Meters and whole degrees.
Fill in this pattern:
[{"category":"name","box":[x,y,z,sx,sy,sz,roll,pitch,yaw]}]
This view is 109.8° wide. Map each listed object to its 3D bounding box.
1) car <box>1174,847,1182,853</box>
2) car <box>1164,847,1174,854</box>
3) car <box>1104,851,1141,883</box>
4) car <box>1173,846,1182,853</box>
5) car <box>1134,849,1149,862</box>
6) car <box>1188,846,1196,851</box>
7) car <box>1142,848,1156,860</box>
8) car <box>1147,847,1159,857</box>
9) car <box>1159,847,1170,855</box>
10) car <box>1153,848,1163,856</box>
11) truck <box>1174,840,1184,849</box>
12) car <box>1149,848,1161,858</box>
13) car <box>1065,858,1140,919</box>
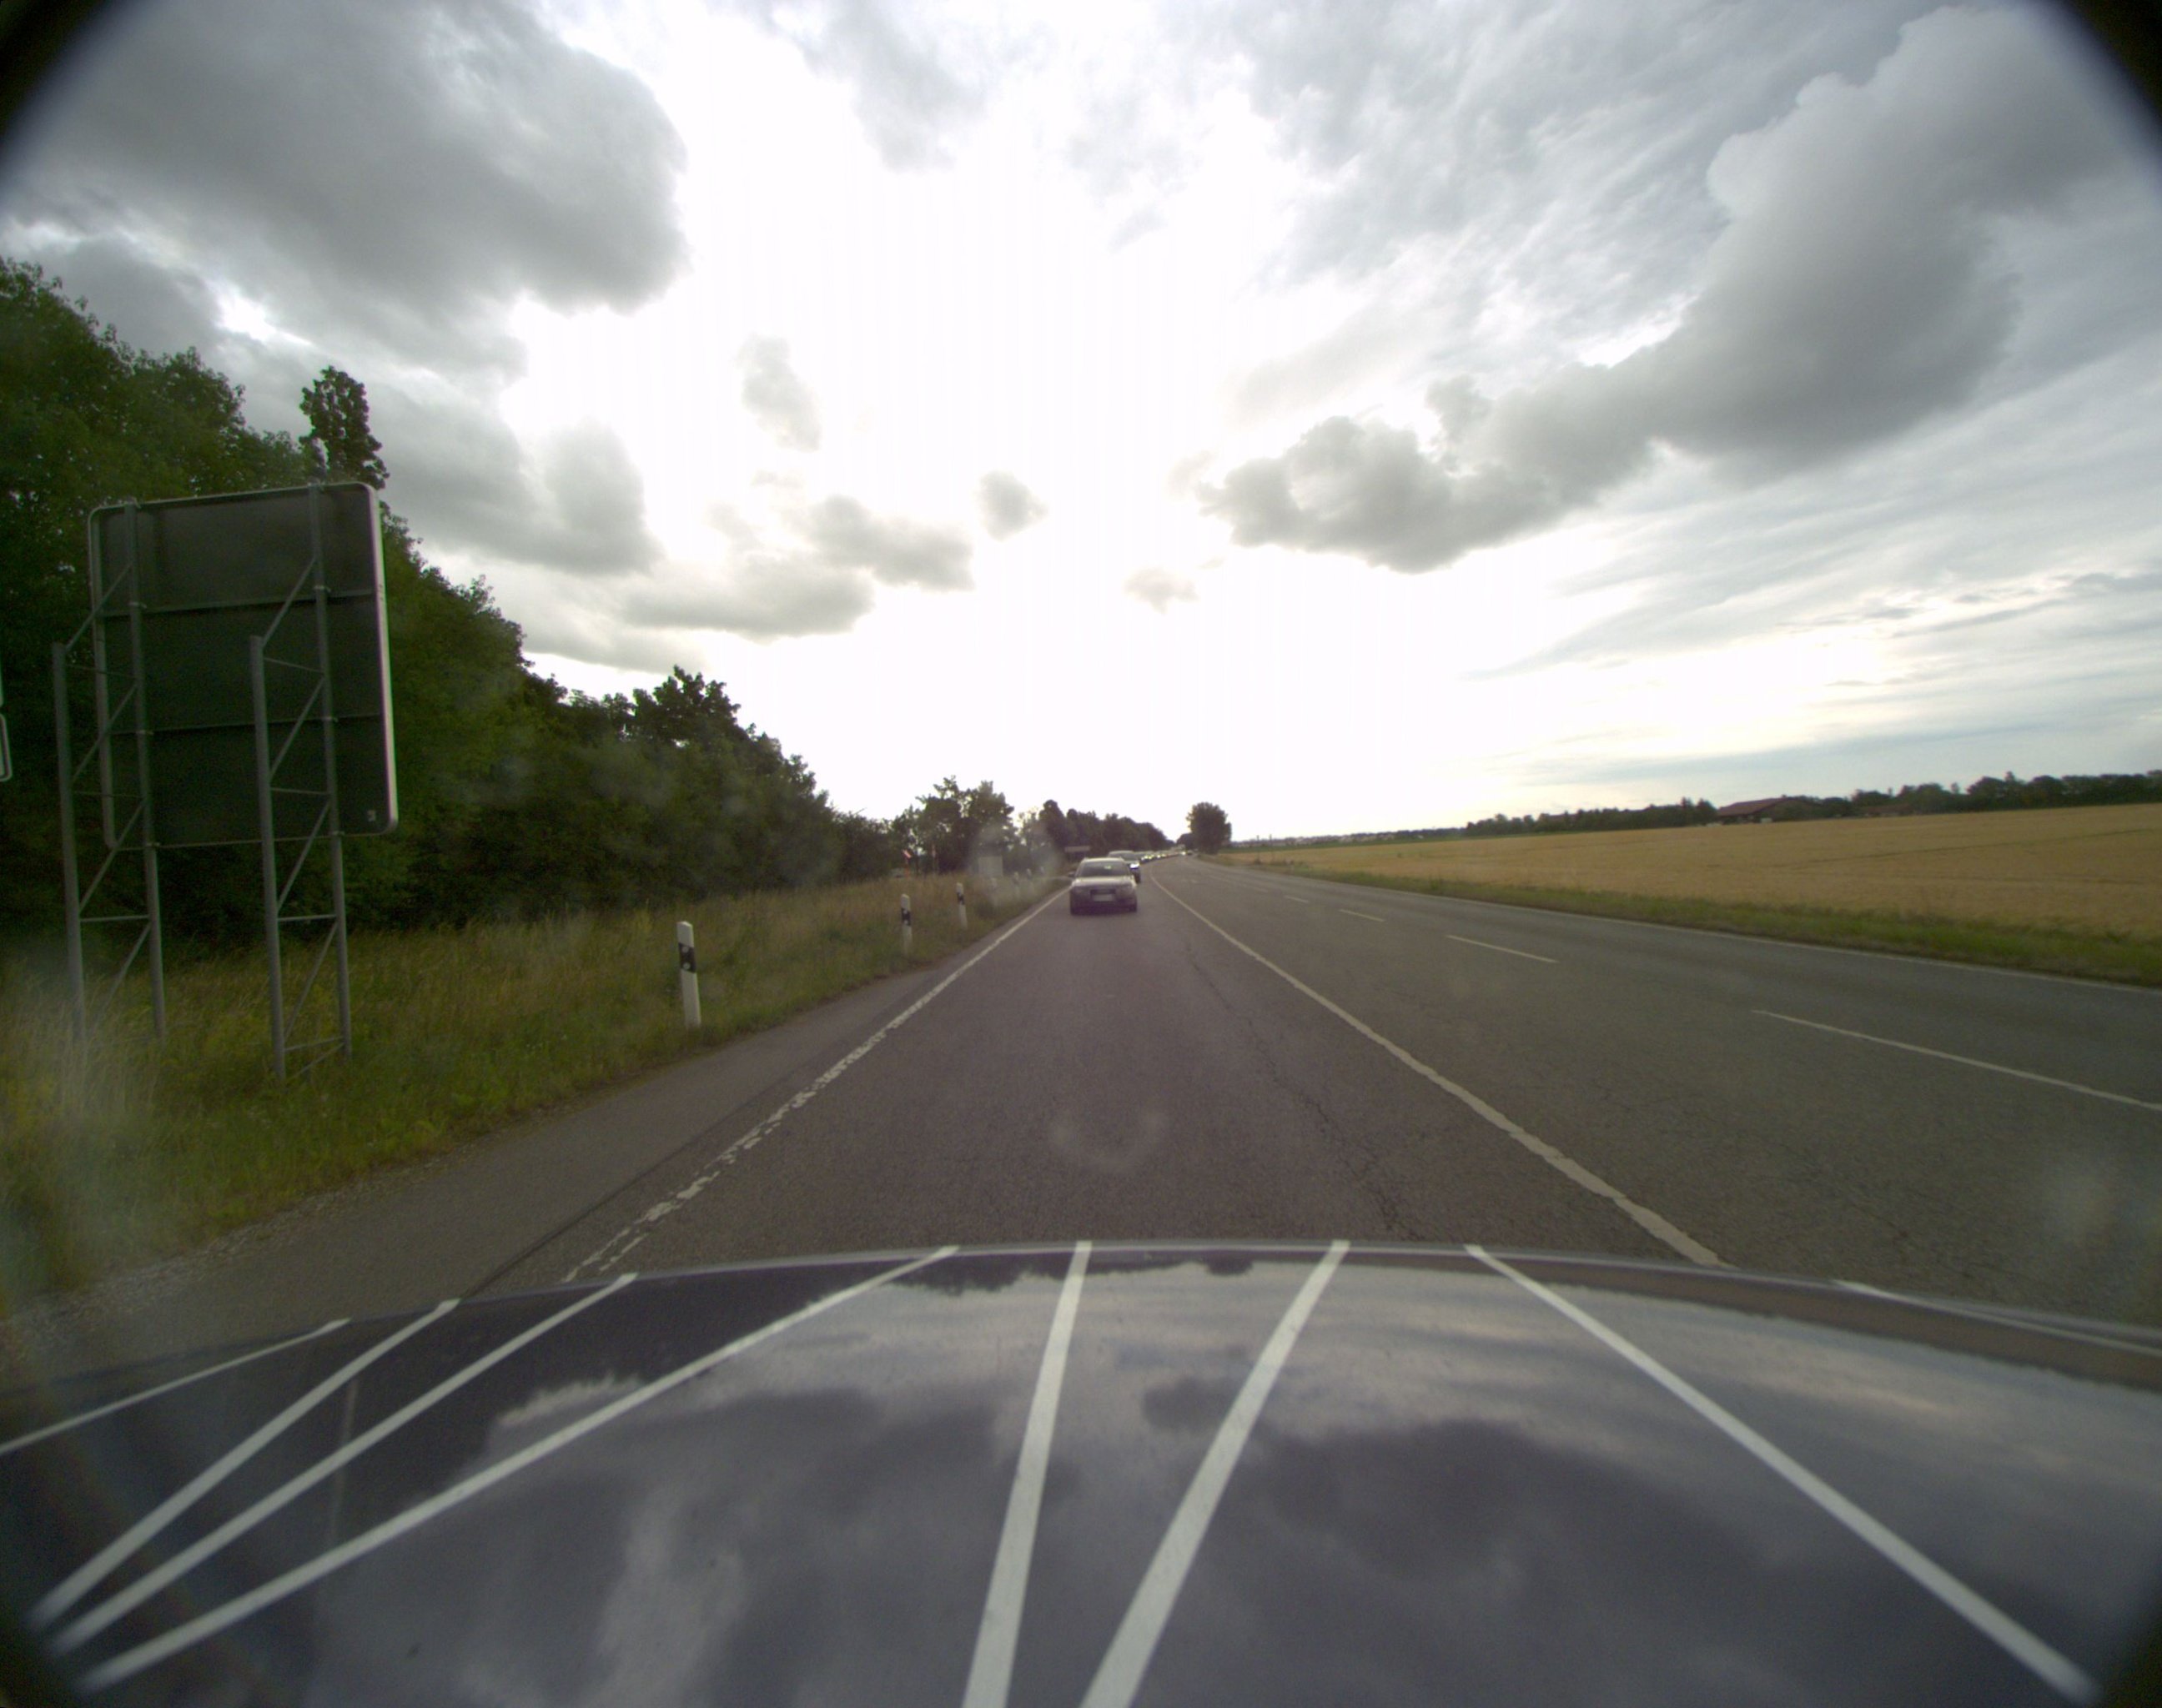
[{"category":"car","box":[26.606,-1.142,208.171,1.792,1.531,4.141,-2,0,14]},{"category":"car","box":[20.921,-0.917,180.376,1.792,1.573,4.140,-2,0,13]},{"category":"car","box":[2.233,0.646,40.591,1.793,1.573,4.368,-2,0,3]},{"category":"car","box":[25.506,-1.184,200.260,1.792,1.573,4.140,-2,0,13]},{"category":"car","box":[8.032,0.163,100.228,1.793,1.573,4.369,-2,0,7]},{"category":"car","box":[32.784,-1.609,224.069,1.829,1.402,4.428,-2,0,13]},{"category":"car","box":[9.959,-0.027,111.640,1.793,1.573,4.189,-2,0,7]},{"category":"car","box":[13.065,-0.360,138.214,1.792,1.573,4.139,-2,0,9]},{"category":"car","box":[17.959,-0.658,163.296,1.792,1.573,4.140,-2,0,12]},{"category":"car","box":[15.289,-0.425,151.136,1.792,1.573,4.139,-2,0,9]},{"category":"truck","box":[29.934,-2.944,233.032,2.318,2.749,7.679,-3,0,12]},{"category":"car","box":[12.460,-0.190,127.173,1.793,1.573,4.189,-2,0,7]},{"category":"car","box":[0.643,0.866,20.901,1.793,1.415,4.368,-2,0,3]}]
